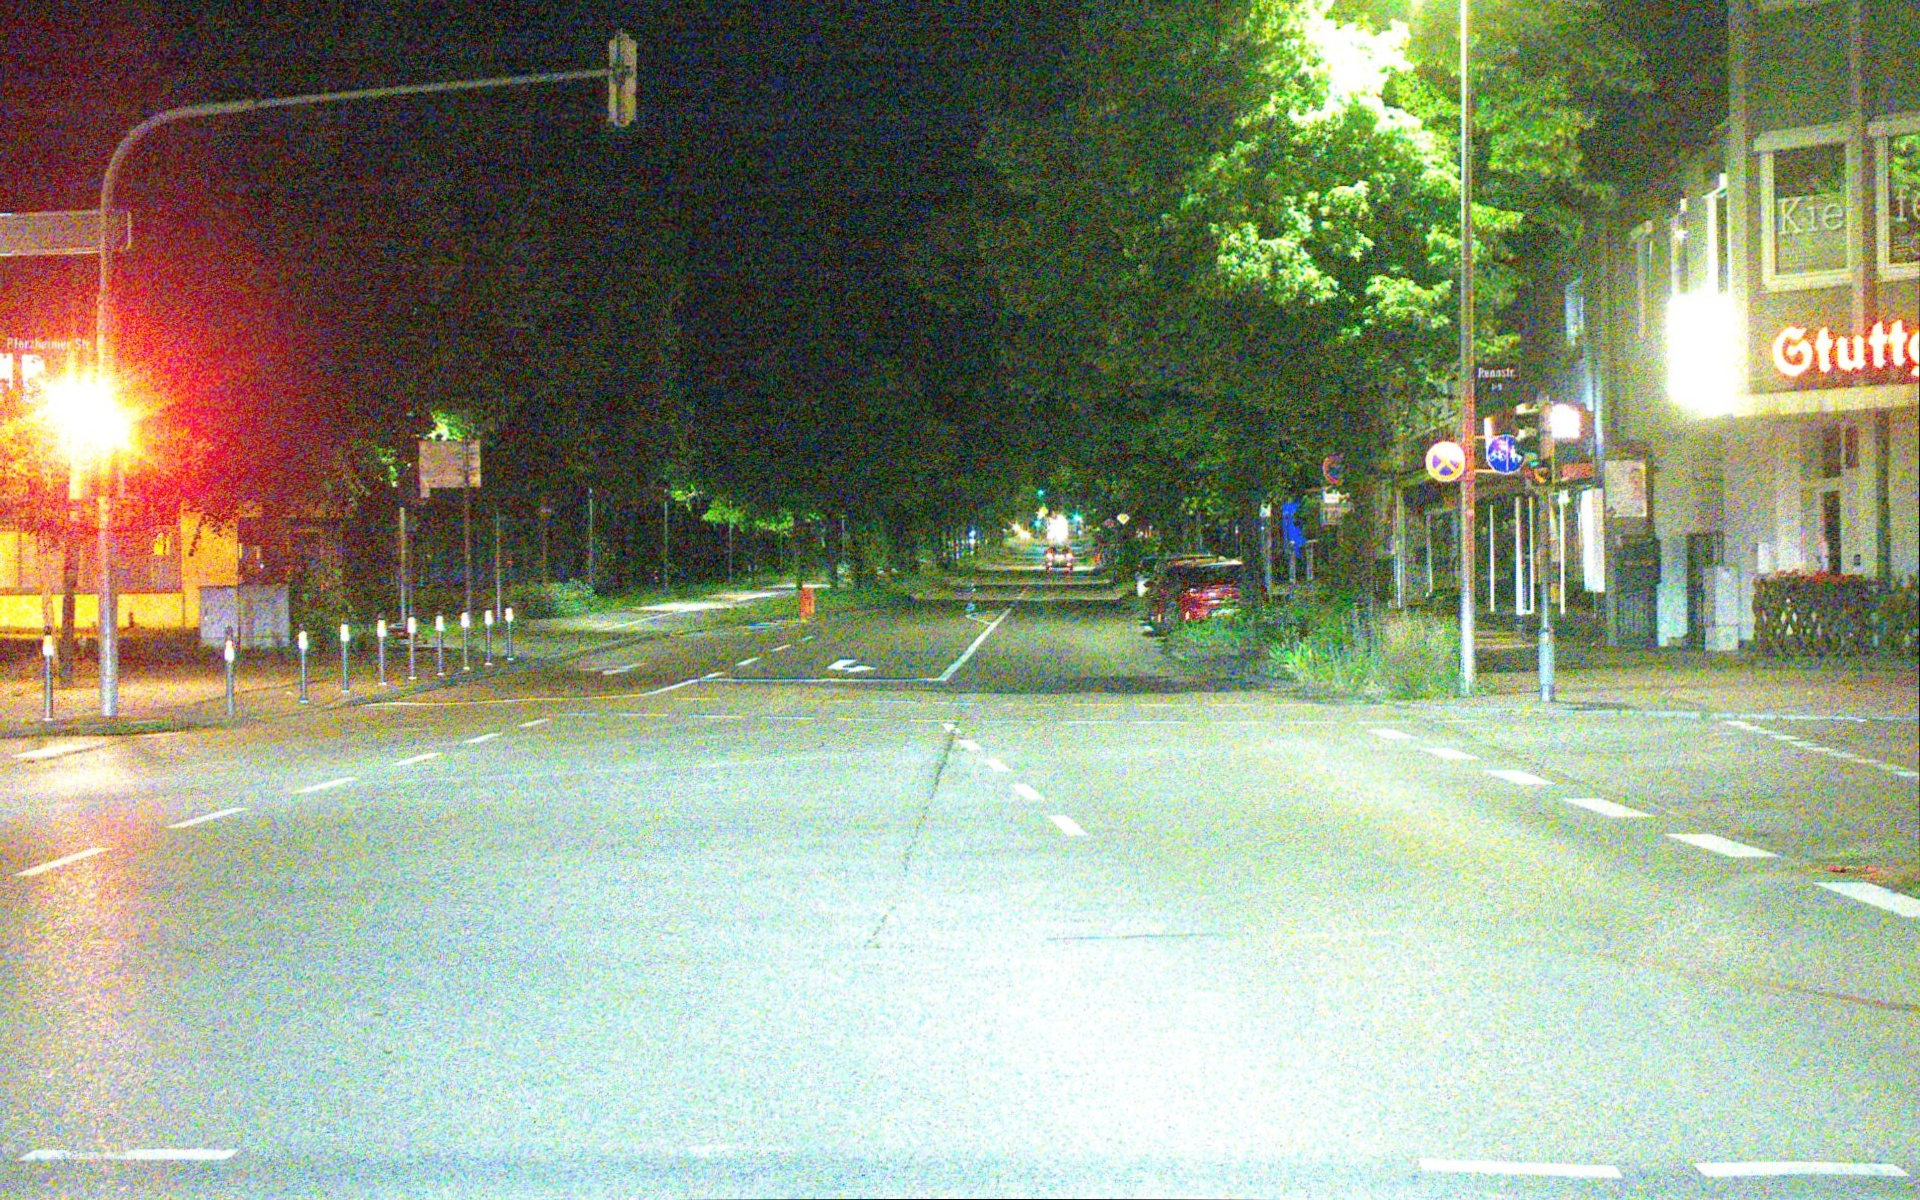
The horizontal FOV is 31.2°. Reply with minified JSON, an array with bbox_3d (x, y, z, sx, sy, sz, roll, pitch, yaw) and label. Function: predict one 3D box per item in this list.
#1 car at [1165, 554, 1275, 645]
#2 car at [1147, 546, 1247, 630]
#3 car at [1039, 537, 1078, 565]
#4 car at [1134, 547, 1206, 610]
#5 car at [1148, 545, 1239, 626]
[{"bbox_3d":[4.770,-0.031,63.524,1.876,1.610,4.000,0,1,2],"label":"car"},{"bbox_3d":[4.708,-0.254,68.800,1.876,1.610,4.000,0,1,2],"label":"car"},{"bbox_3d":[5.799,-2.870,201.947,2.227,1.645,4.000,0,1,3],"label":"car"},{"bbox_3d":[5.744,-0.594,94.534,1.876,1.678,4.000,0,1,2],"label":"car"},{"bbox_3d":[5.168,-0.334,76.471,1.876,1.723,4.000,0,1,2],"label":"car"}]
